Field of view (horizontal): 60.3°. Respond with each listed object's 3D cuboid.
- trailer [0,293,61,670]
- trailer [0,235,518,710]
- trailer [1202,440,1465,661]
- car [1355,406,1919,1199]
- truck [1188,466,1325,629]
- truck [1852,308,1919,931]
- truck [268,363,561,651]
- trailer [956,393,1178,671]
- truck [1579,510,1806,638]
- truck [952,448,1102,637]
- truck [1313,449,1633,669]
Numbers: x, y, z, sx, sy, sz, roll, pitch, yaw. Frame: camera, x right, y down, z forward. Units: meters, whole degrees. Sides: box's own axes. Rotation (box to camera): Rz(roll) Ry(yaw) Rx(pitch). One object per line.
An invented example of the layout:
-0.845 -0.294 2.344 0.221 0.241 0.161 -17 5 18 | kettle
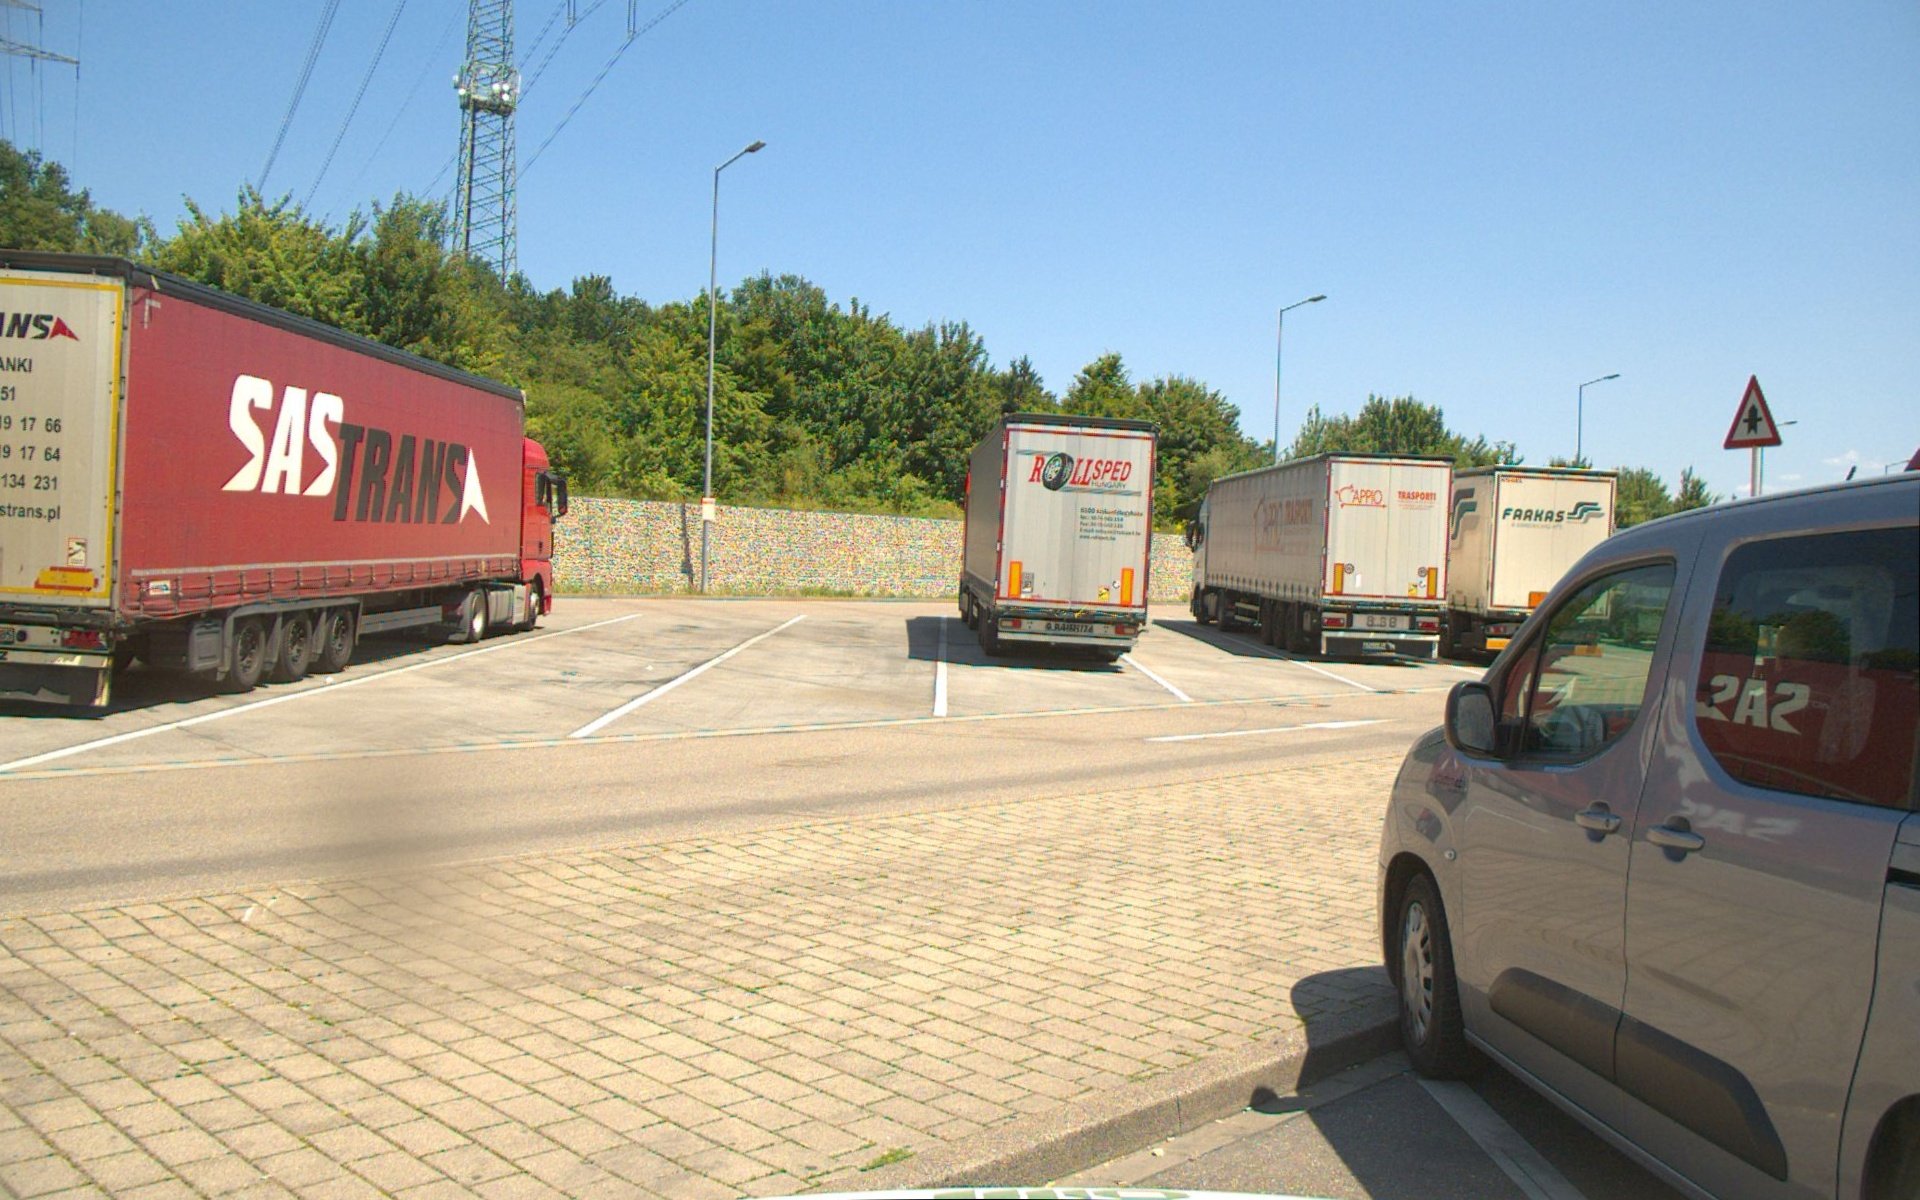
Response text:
-12.422 -1.310 15.453 2.689 4.337 9.733 1 1 0 | trailer
-8.694 -1.259 21.063 2.694 4.128 13.284 1 1 -1 | trailer
8.191 -1.086 38.617 2.818 4.196 13.569 1 1 -1 | trailer
2.421 0.559 3.823 1.790 1.784 3.997 1 1 -4 | car
8.057 -1.410 45.616 2.701 4.196 5.283 1 1 -1 | truck
4.968 0.131 4.944 1.952 2.669 5.305 1 1 3 | truck
-8.788 -1.420 27.545 2.687 4.152 6.828 1 1 -1 | truck
1.685 -1.314 32.685 3.008 4.301 12.805 2 2 -2 | trailer
21.942 -0.807 50.194 2.963 3.497 8.529 1 1 -1 | truck
1.452 -1.379 39.451 2.965 3.997 6.845 2 2 -2 | truck
11.702 -0.955 40.002 2.846 4.195 14.525 3 1 -1 | truck
